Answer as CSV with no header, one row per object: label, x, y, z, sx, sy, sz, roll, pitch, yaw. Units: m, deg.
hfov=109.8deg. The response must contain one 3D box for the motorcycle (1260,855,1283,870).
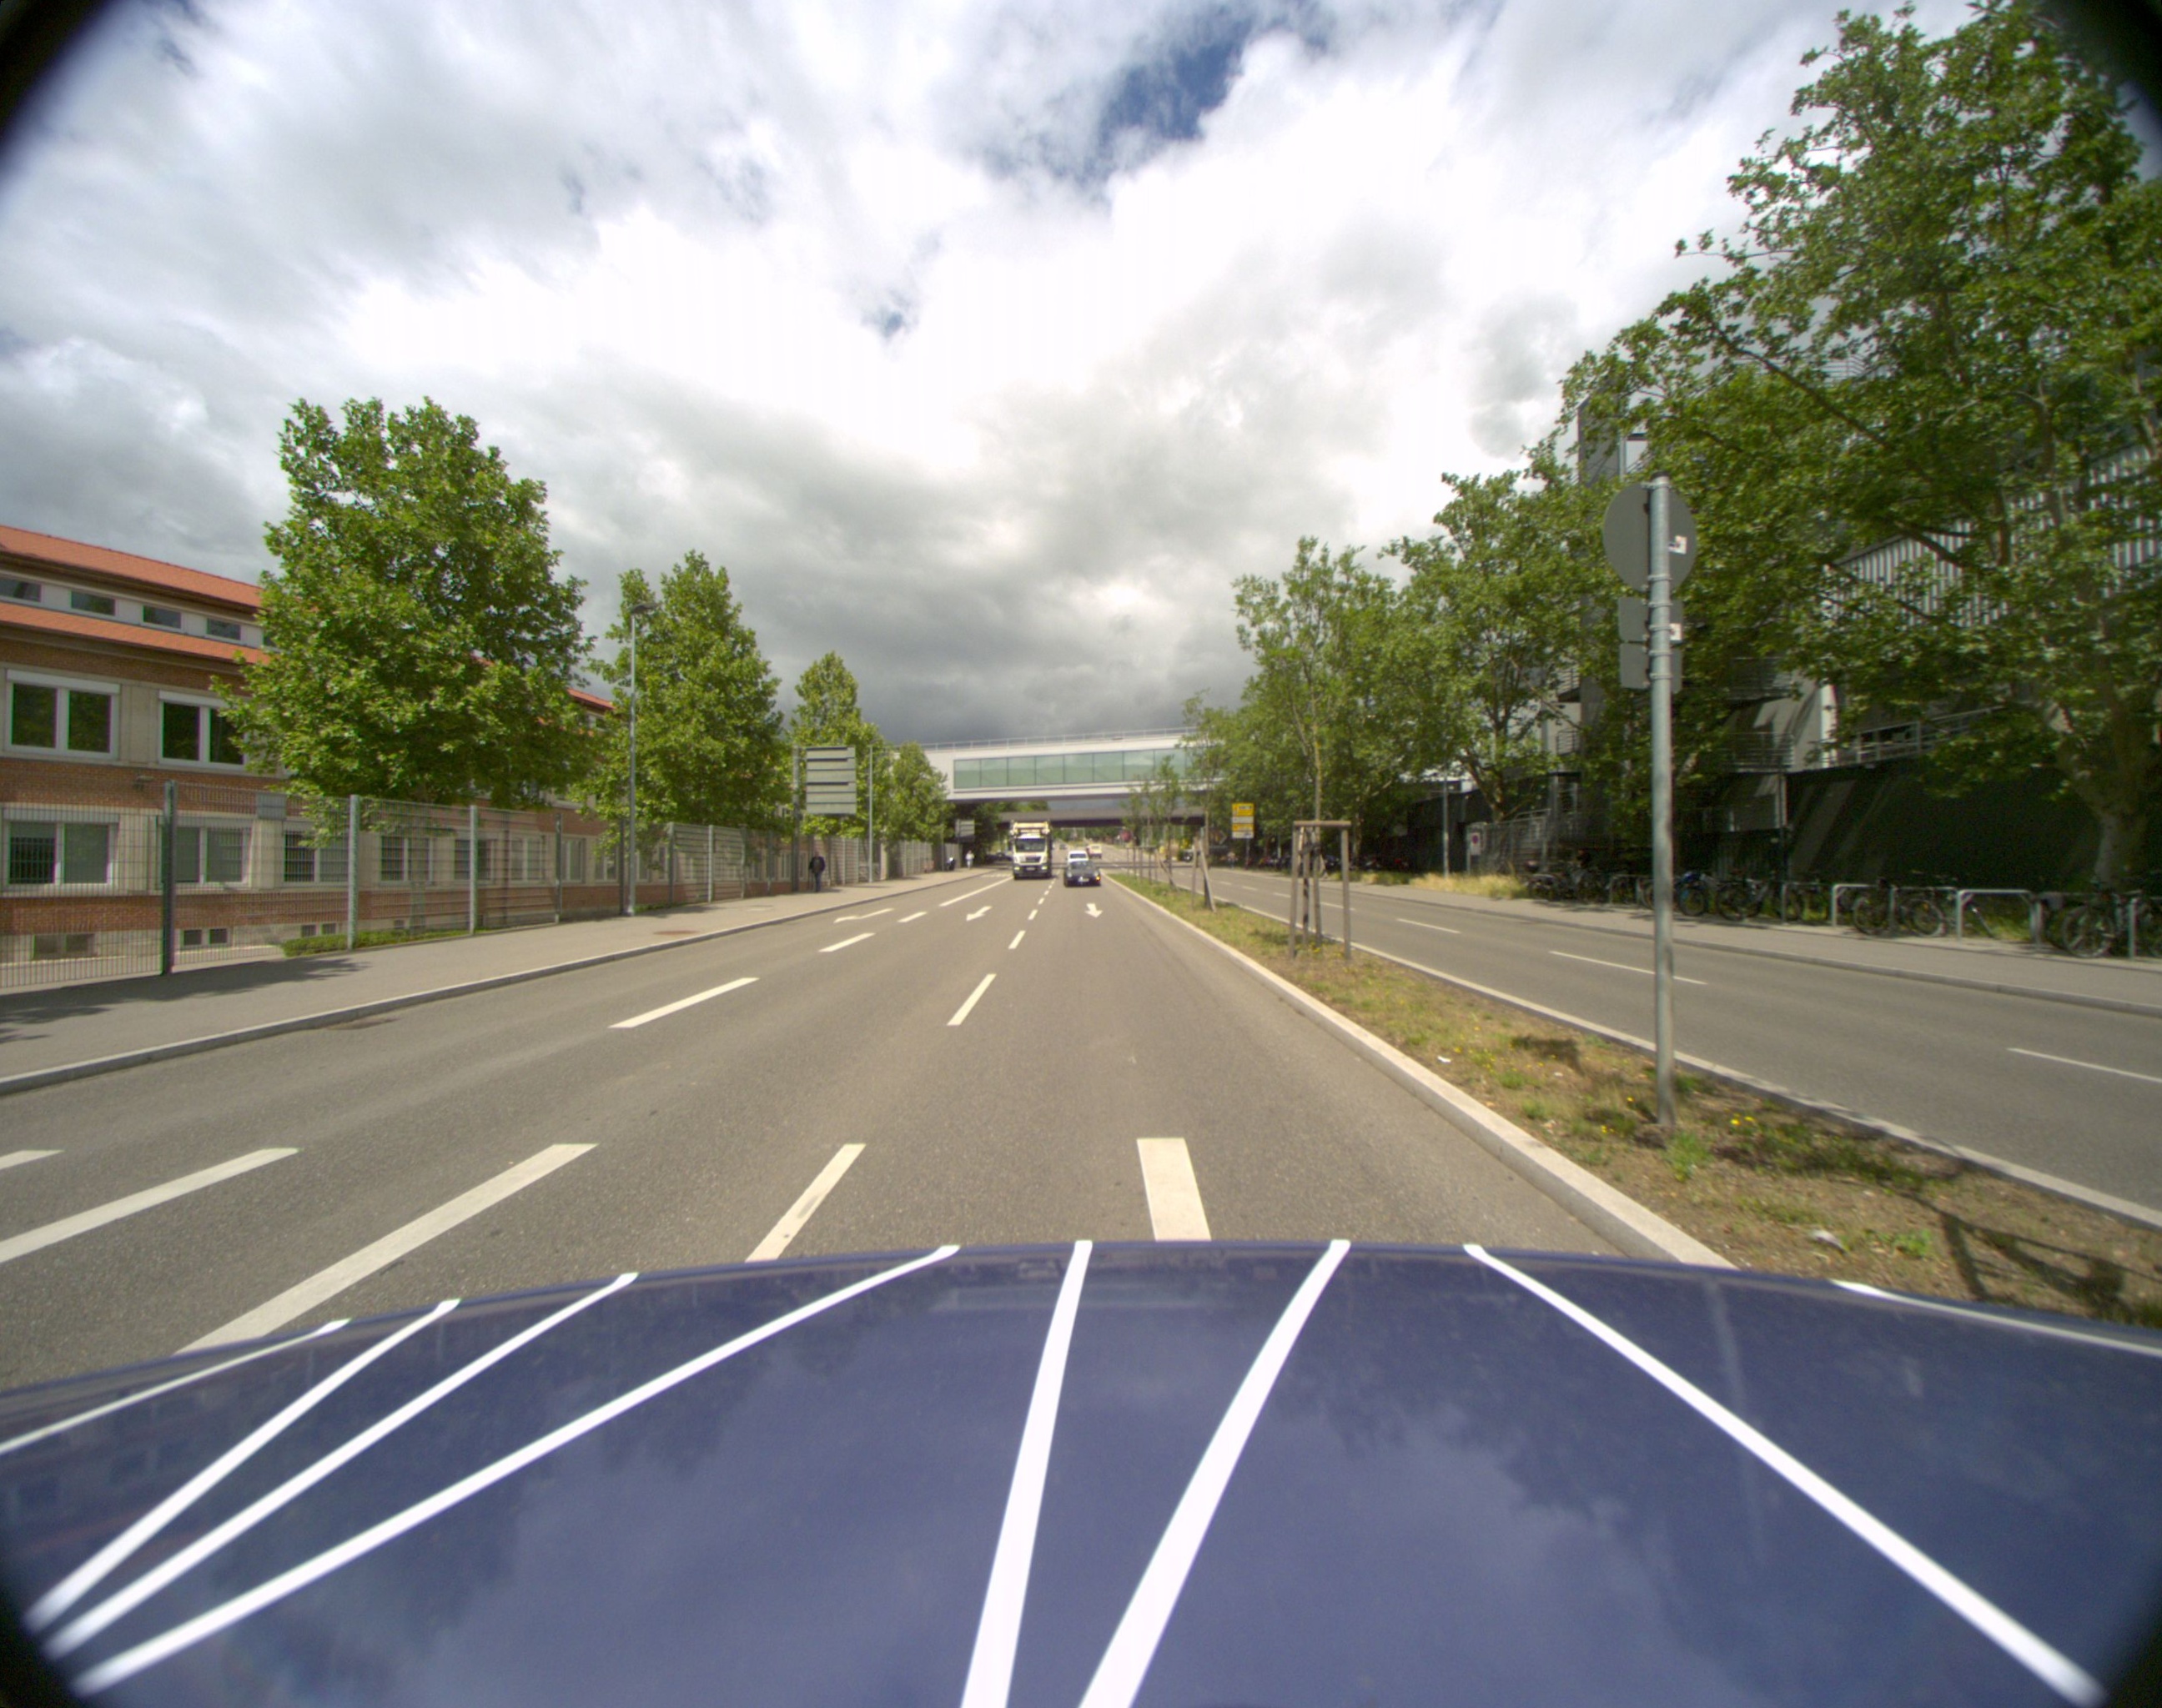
motorcycle,15.263,0.651,60.996,1.595,1.116,0.776,-3,-1,1

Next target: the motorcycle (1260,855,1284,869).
motorcycle,14.985,0.659,59.623,1.595,1.027,0.776,-3,-1,1

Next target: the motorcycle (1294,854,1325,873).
motorcycle,15.135,0.627,50.451,1.880,1.172,0.816,-3,-1,15

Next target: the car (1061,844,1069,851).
car,-4.592,-1.957,218.372,1.999,2.002,3.999,-1,0,-1

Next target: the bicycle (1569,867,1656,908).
bicycle,14.699,0.911,21.023,2.086,1.056,0.497,-1,1,-2

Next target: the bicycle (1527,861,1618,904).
bicycle,14.366,0.823,22.235,2.139,1.173,0.806,-1,1,-2

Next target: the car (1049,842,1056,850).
car,-8.148,-2.296,216.350,1.999,2.002,3.999,-1,0,-1

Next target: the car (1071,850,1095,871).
car,0.138,0.513,65.333,1.929,1.728,3.999,-1,0,-1

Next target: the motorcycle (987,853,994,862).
motorcycle,-12.188,0.509,101.984,0.679,1.148,2.112,0,1,0

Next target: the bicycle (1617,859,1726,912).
bicycle,14.909,0.783,19.219,2.139,1.275,0.806,-1,1,-2

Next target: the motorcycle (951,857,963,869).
motorcycle,-11.756,0.844,72.113,0.709,1.058,2.510,2,1,-1

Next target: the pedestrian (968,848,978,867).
pedestrian,-10.836,0.337,76.221,0.791,1.877,1.097,0,1,-1

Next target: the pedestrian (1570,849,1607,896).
pedestrian,17.053,0.610,25.540,0.755,1.543,0.821,-1,1,10

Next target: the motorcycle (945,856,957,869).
motorcycle,-11.810,0.762,68.982,0.670,1.058,2.246,2,1,-1

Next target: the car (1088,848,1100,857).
car,2.466,-0.258,145.209,1.910,1.621,4.291,-1,0,-4

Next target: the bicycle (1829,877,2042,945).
bicycle,14.746,0.960,13.179,2.569,1.089,0.696,0,1,10

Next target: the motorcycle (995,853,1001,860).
motorcycle,-11.840,0.342,108.695,0.679,1.076,2.180,0,1,-2

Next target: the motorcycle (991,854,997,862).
motorcycle,-12.071,0.561,105.660,0.679,1.076,2.037,0,1,-2

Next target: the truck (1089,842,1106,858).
truck,2.886,-0.693,132.132,2.486,2.735,6.456,-1,0,-3

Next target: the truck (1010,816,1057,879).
truck,-3.203,-0.449,53.832,2.787,3.981,10.085,-1,0,-1

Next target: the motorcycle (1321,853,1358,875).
motorcycle,15.099,0.597,44.386,1.881,1.179,0.730,-3,0,8

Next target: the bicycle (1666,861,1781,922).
bicycle,14.382,0.828,17.049,1.923,1.275,0.806,-1,1,-2

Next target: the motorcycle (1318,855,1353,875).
motorcycle,15.276,0.658,45.647,1.880,1.078,0.795,-3,-1,15

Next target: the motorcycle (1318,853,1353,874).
motorcycle,15.616,0.598,46.700,1.882,1.202,0.655,-3,-1,3

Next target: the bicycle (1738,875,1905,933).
bicycle,14.776,0.975,15.173,2.844,1.000,0.850,-1,1,-9

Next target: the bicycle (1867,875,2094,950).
bicycle,14.591,0.947,12.393,2.569,1.151,0.644,-1,1,10

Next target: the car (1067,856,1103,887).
car,0.147,0.835,38.163,1.675,1.390,3.999,-1,0,-1

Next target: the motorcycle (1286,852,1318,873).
motorcycle,15.080,0.582,51.874,1.934,1.336,0.866,-3,-1,20

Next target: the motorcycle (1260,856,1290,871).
motorcycle,14.691,0.718,57.461,1.939,1.109,0.920,1,1,-12

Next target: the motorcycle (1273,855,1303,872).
motorcycle,15.202,0.679,55.753,1.933,1.109,0.923,-3,-1,27

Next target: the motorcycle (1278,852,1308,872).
motorcycle,15.128,0.570,54.136,1.934,1.283,0.894,-3,-1,20

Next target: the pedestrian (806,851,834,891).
pedestrian,-11.345,0.730,33.074,0.879,1.733,0.940,1,1,-1

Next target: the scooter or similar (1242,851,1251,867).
scooter or similar,13.173,0.397,60.561,0.355,1.229,1.479,-2,2,-1

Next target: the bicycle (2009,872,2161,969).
bicycle,14.315,0.896,10.430,2.410,1.250,0.556,-1,1,2

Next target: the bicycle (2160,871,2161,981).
bicycle,14.349,0.861,9.071,2.172,1.356,0.490,-1,1,2

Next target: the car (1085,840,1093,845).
car,2.183,-3.172,207.121,1.998,1.346,4.000,0,1,1

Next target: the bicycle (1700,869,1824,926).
bicycle,14.362,0.903,16.061,1.923,1.116,0.806,-1,1,-2

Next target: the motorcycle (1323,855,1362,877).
motorcycle,14.600,0.665,42.429,1.881,1.166,0.746,-3,-1,9

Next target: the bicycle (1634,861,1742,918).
bicycle,14.349,0.825,18.002,1.923,1.275,0.806,-1,1,-2

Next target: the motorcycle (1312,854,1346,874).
motorcycle,15.639,0.628,47.896,1.882,1.172,0.698,-3,-1,3

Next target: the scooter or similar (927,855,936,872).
scooter or similar,-12.183,0.767,61.784,0.492,1.287,1.336,0,1,-1

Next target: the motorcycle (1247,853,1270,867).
motorcycle,15.008,0.513,64.357,1.745,1.164,0.777,-3,-1,8

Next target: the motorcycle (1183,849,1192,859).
motorcycle,12.816,-0.038,91.757,0.641,1.191,2.257,-3,1,-1

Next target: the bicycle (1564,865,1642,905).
bicycle,14.751,0.875,21.492,1.929,1.068,0.422,-1,1,-2

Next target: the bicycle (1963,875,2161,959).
bicycle,14.999,0.931,11.309,2.569,1.151,0.726,-1,1,10

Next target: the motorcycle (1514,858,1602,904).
motorcycle,14.267,0.803,22.769,2.139,1.301,0.806,-1,1,-2

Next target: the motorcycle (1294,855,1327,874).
motorcycle,14.850,0.677,49.215,1.881,1.172,0.815,-3,-1,9

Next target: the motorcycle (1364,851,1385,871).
motorcycle,18.696,0.456,48.441,0.654,1.202,1.984,-3,-1,4

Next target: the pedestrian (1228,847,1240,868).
pedestrian,12.461,0.282,61.840,0.769,1.603,0.813,-3,1,-1

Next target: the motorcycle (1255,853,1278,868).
motorcycle,15.226,0.518,62.329,1.596,1.116,0.775,-3,-1,-9
